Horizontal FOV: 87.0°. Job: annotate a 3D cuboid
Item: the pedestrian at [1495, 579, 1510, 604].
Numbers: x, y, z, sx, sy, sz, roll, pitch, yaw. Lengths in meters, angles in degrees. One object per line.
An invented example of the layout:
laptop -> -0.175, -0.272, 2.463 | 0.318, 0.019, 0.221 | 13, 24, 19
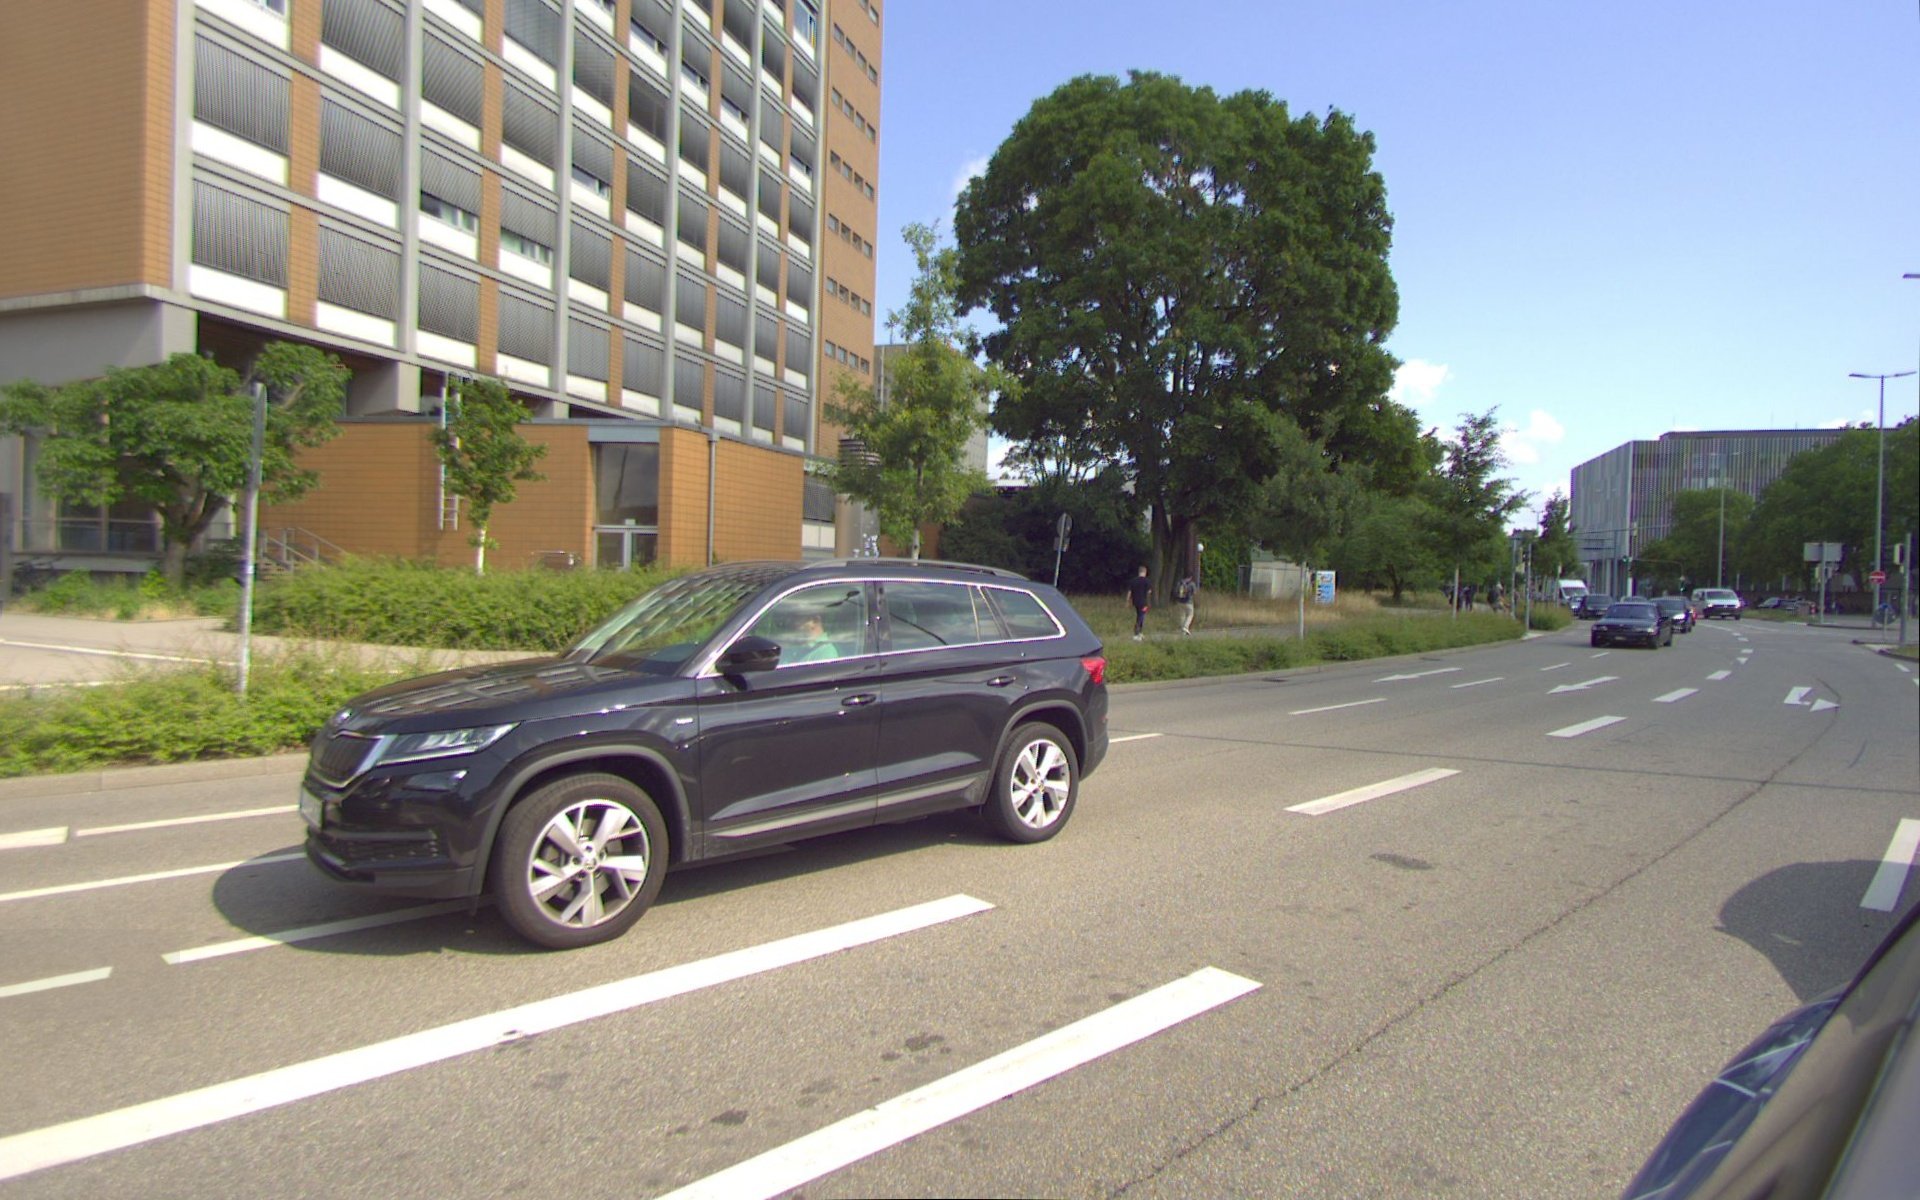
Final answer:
pedestrian -> 44.786, -0.735, 83.524 | 0.980, 2.039, 1.117 | 2, 1, 33

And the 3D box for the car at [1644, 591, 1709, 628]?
car -> 30.674, 0.372, 43.272 | 1.709, 1.472, 3.937 | 2, 2, 44

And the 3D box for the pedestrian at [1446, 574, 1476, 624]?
pedestrian -> 20.616, -0.045, 41.658 | 0.980, 2.039, 1.117 | 0, 0, 33

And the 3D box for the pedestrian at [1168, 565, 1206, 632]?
pedestrian -> 6.256, -0.051, 27.921 | 0.634, 1.766, 0.672 | 0, 5, -41

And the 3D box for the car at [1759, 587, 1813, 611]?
car -> 61.221, -0.106, 75.110 | 1.978, 1.616, 3.970 | 2, 1, 23

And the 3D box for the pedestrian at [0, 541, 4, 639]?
pedestrian -> -15.375, -0.153, 15.811 | 0.570, 1.539, 0.480 | 0, 3, -36

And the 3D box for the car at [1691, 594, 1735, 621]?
car -> 39.932, 0.384, 53.672 | 1.604, 1.229, 2.966 | 4, 4, 41

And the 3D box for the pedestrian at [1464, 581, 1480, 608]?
pedestrian -> 39.011, -0.459, 77.161 | 0.980, 2.039, 1.117 | 0, 0, 33

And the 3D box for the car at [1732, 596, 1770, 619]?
car -> 71.954, 0.682, 92.114 | 1.752, 2.039, 3.587 | 0, 0, 21

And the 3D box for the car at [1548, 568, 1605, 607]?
car -> 49.358, -1.006, 81.143 | 2.454, 2.915, 6.114 | 2, 1, 18

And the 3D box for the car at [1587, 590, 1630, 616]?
car -> 40.045, 0.161, 62.576 | 1.983, 1.504, 3.958 | 2, 2, 30

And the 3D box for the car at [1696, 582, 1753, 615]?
car -> 49.706, -0.127, 65.875 | 1.980, 2.039, 5.029 | 0, 0, 26

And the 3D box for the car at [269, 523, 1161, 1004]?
car -> -1.078, 0.516, 5.814 | 4.602, 1.689, 1.997 | -1, 2, -41

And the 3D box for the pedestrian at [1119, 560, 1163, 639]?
pedestrian -> 4.503, -0.035, 25.152 | 0.634, 1.893, 0.760 | 0, 4, -40

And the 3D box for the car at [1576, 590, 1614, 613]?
car -> 43.620, 0.076, 69.562 | 1.983, 1.504, 3.958 | 2, 2, 30

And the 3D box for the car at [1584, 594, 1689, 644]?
car -> 21.094, 0.551, 31.474 | 1.993, 1.415, 4.438 | 2, 1, 43

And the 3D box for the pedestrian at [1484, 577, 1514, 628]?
pedestrian -> 21.748, 0.097, 40.831 | 0.980, 2.039, 1.117 | 0, 0, 33
